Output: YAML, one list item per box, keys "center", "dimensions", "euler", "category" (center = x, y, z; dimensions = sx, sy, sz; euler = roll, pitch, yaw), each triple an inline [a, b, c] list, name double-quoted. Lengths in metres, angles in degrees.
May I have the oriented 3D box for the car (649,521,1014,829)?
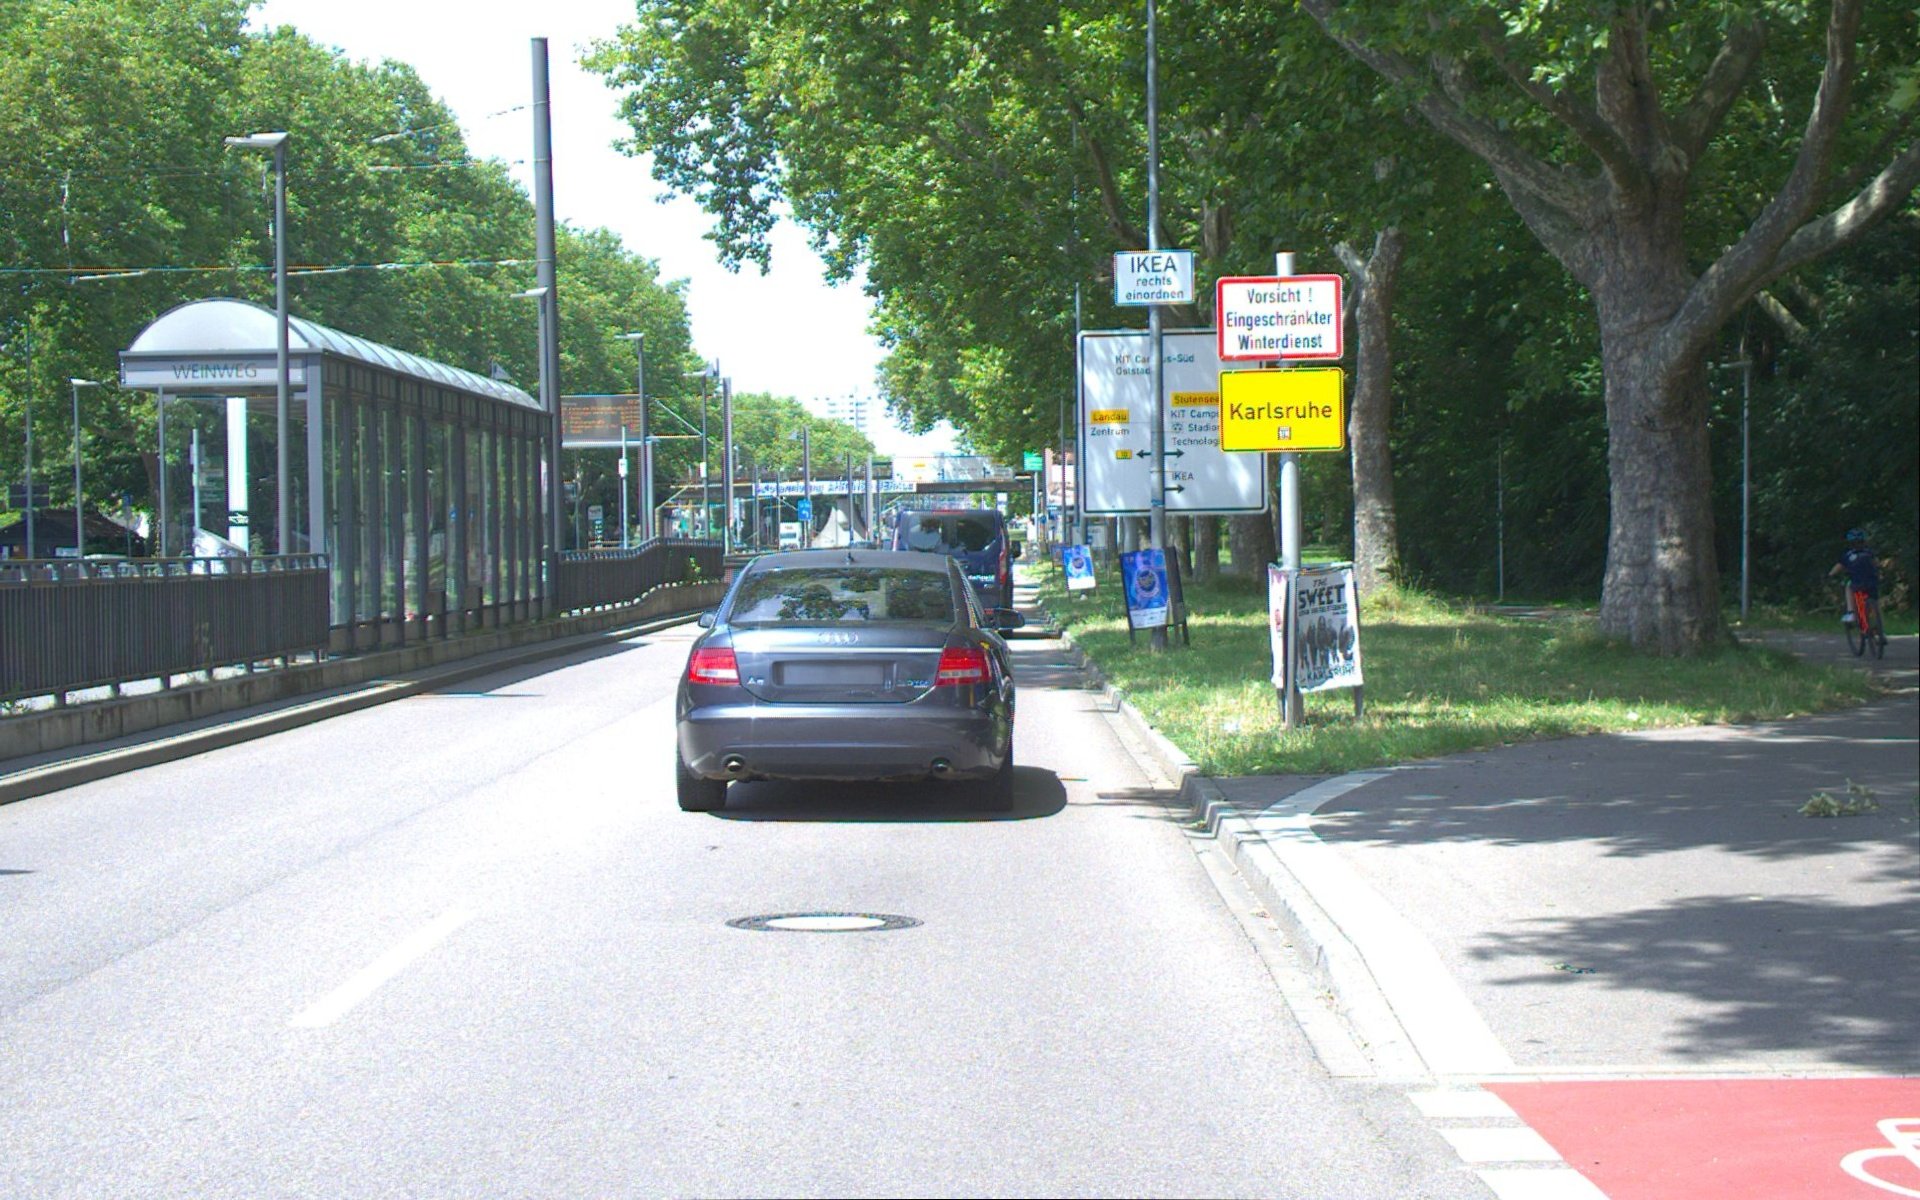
- center: [-0.641, 0.338, 19.536]
  dimensions: [1.842, 1.479, 4.001]
  euler: [-1, 2, 0]
  category: "car"

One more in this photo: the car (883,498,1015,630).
- center: [-0.129, -0.582, 53.744]
  dimensions: [1.848, 1.953, 4.144]
  euler: [1, 1, 3]
  category: "car"

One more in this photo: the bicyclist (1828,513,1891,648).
- center: [10.889, -0.243, 41.614]
  dimensions: [0.623, 1.604, 0.816]
  euler: [0, 1, 6]
  category: "bicyclist"

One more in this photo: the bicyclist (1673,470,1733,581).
- center: [10.859, -1.085, 50.265]
  dimensions: [0.658, 1.593, 1.053]
  euler: [0, 1, 1]
  category: "bicyclist"

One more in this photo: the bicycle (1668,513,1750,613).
- center: [10.895, -0.557, 50.082]
  dimensions: [0.610, 1.415, 2.662]
  euler: [-1, 1, 0]
  category: "bicycle"

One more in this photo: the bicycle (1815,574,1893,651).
- center: [10.822, 0.142, 41.658]
  dimensions: [0.645, 0.884, 2.023]
  euler: [0, 1, 7]
  category: "bicycle"
